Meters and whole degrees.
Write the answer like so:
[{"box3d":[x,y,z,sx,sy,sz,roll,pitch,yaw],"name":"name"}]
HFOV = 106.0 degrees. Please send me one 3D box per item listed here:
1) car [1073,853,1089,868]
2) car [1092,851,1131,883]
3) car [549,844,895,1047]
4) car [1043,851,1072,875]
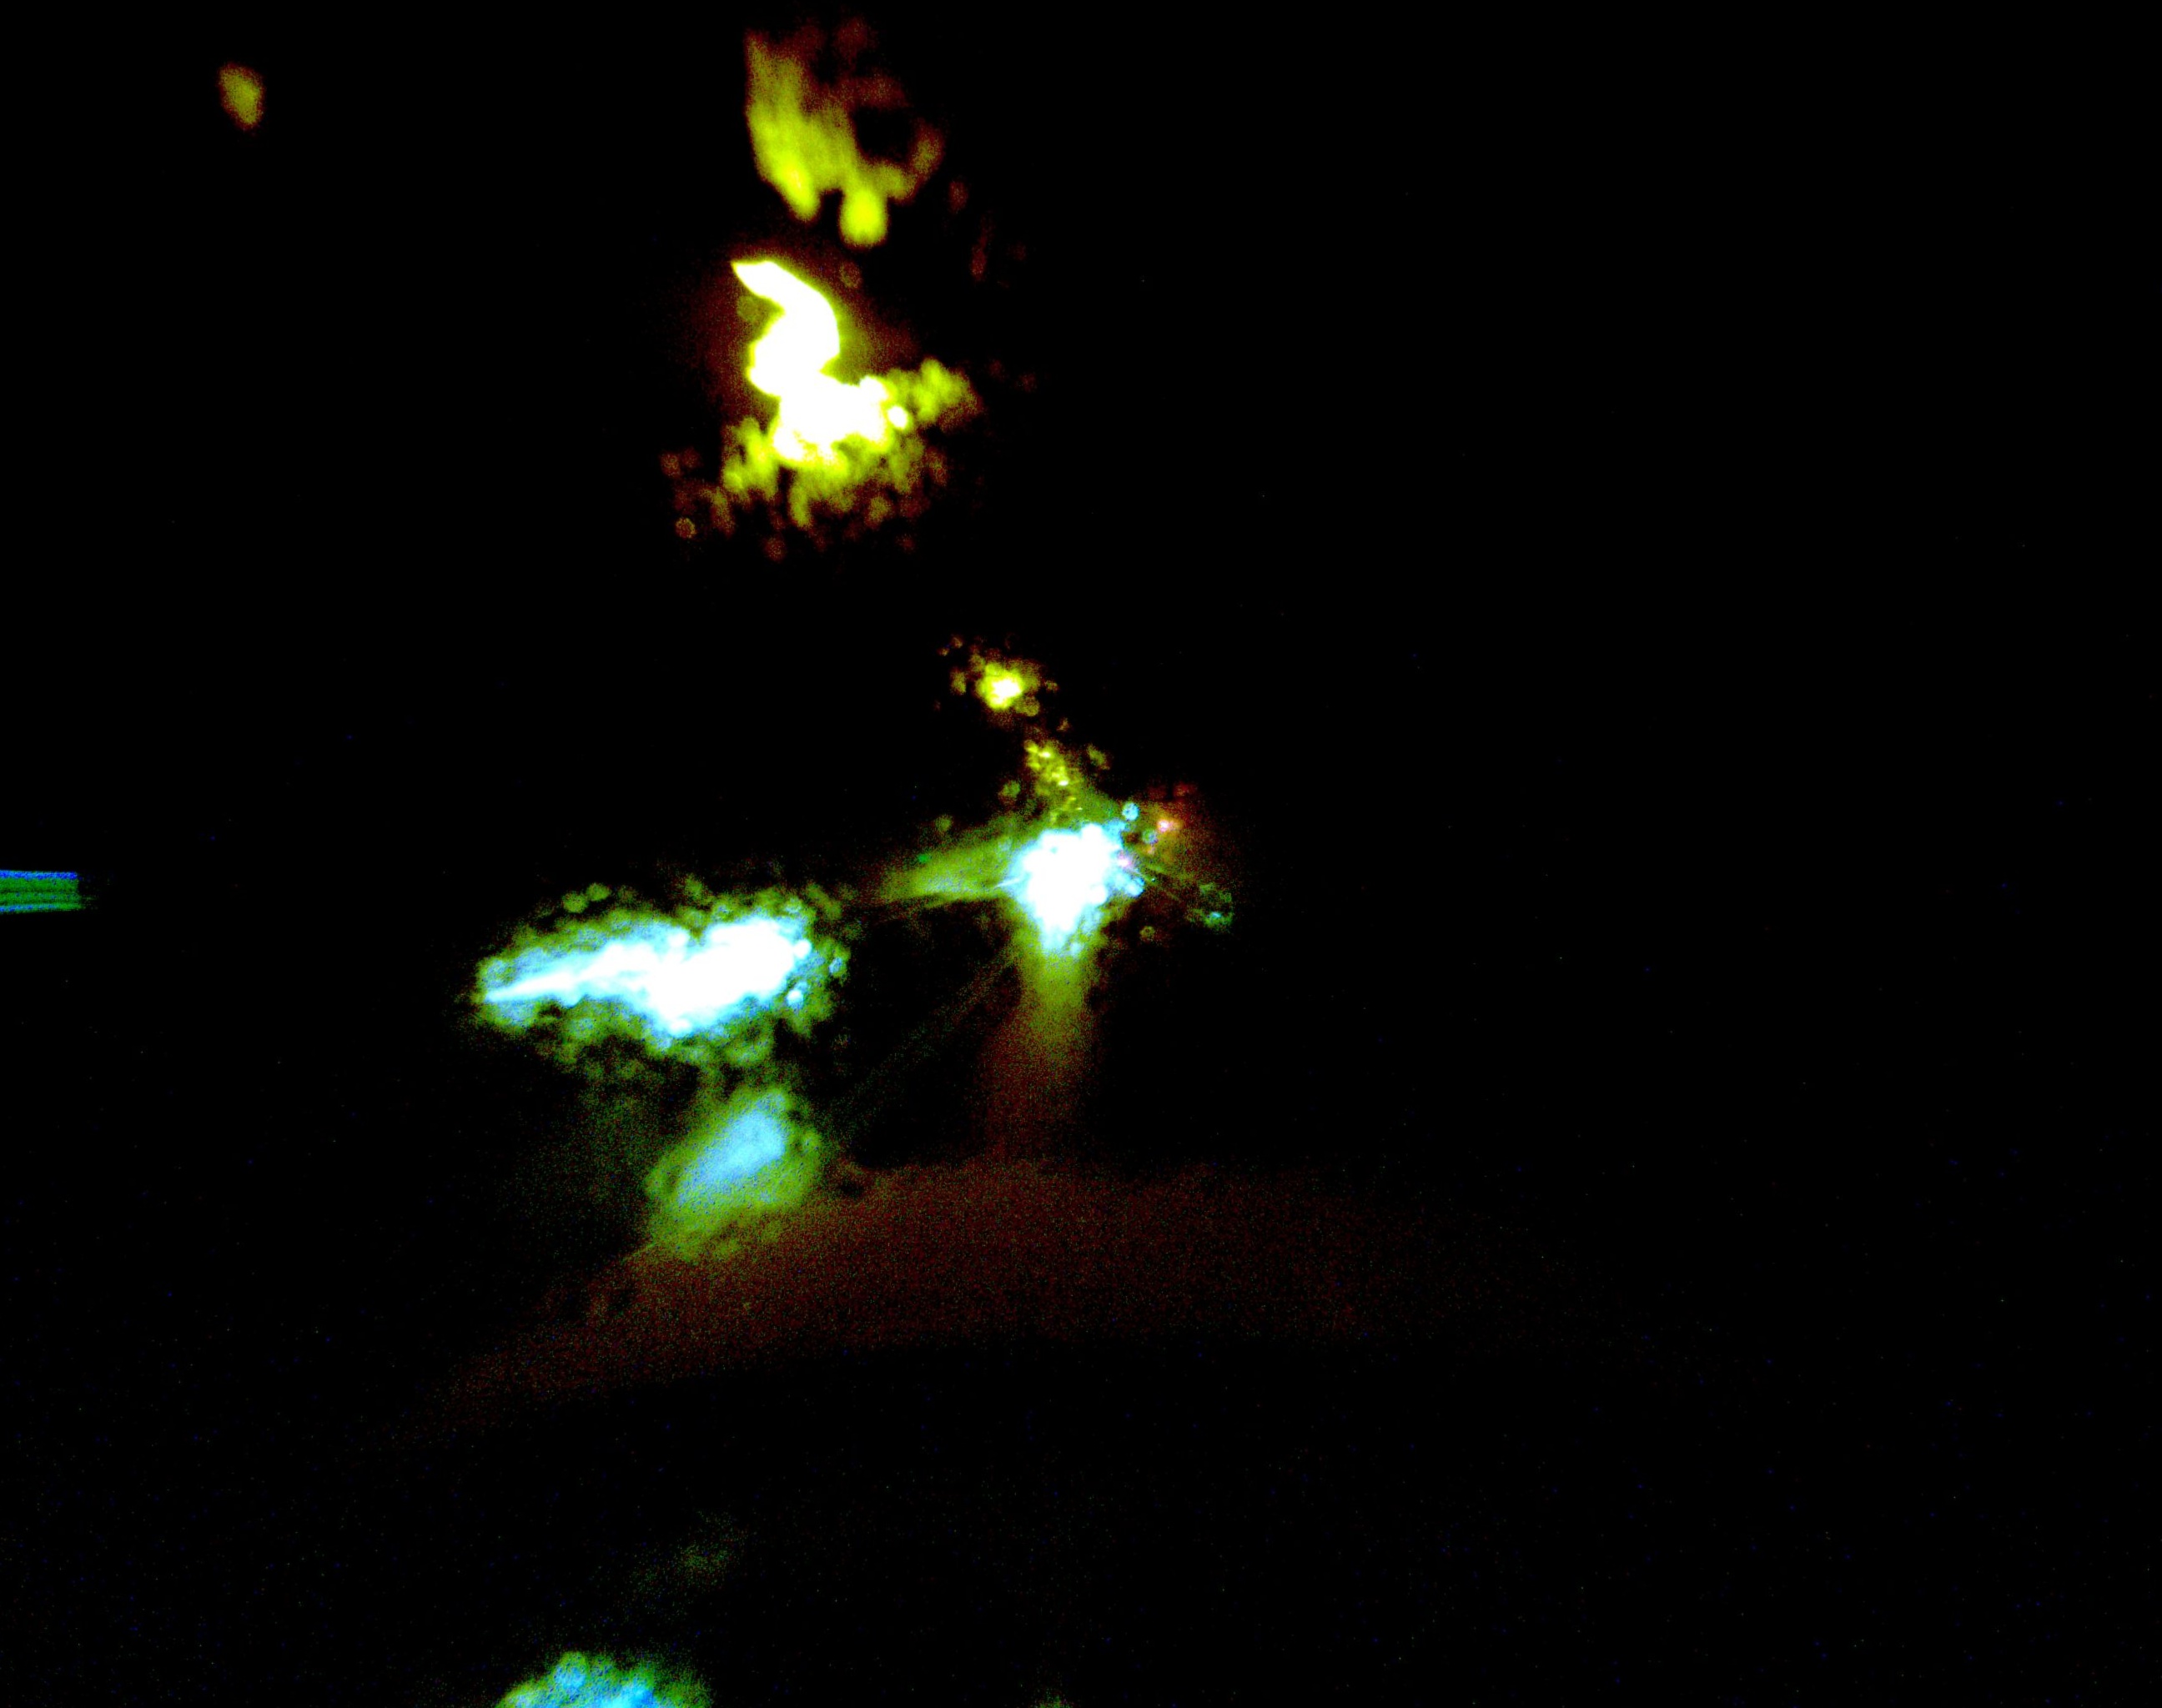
[{"box3d":[0.021,0.816,99.992,1.662,1.647,3.908,-4,1,2],"name":"car"},{"box3d":[1.732,0.723,46.571,2.082,1.662,4.001,-2,0,1],"name":"car"},{"box3d":[-3.190,0.698,8.133,1.685,1.505,3.745,-2,0,1],"name":"car"},{"box3d":[-1.588,0.593,55.386,1.704,1.462,3.577,-2,0,2],"name":"car"}]
